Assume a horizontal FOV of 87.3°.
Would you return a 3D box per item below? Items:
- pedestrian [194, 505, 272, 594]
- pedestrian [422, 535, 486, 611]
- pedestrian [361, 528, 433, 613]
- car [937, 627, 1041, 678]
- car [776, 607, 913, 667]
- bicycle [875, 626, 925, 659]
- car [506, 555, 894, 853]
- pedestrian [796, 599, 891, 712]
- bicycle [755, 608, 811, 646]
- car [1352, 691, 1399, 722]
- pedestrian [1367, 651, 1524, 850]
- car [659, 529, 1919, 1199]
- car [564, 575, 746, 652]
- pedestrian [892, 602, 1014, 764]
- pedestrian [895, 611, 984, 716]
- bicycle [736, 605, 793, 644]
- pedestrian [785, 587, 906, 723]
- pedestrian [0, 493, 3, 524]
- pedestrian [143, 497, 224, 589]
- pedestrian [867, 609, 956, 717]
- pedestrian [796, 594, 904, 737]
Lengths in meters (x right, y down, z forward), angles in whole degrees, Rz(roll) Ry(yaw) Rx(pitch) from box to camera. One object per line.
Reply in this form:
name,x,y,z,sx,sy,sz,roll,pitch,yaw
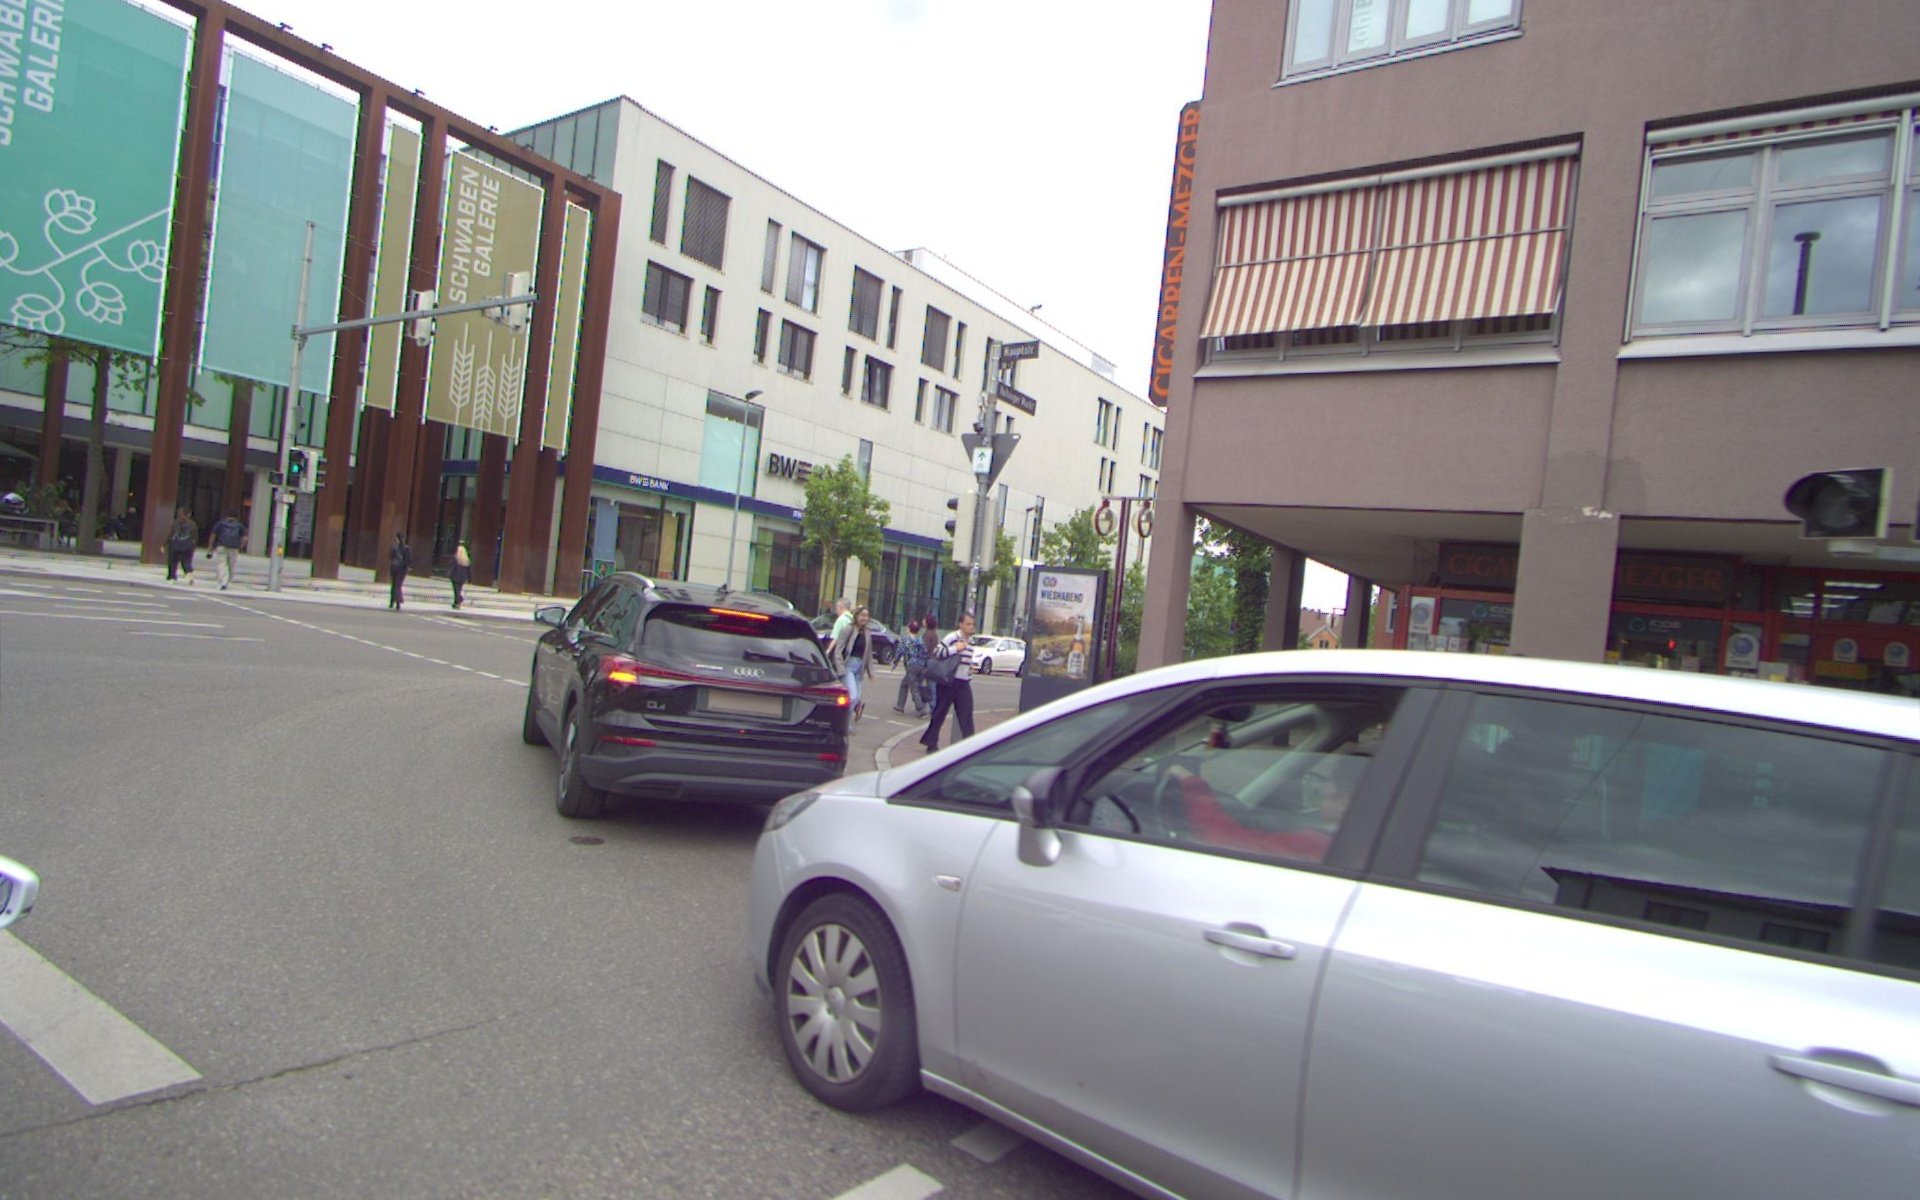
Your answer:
pedestrian,-15.451,-1.068,21.374,1.102,1.702,0.879,7,0,33
pedestrian,-13.056,-0.704,25.946,1.102,1.789,0.879,7,1,33
pedestrian,-13.000,-0.669,23.221,1.102,1.789,0.879,7,1,33
car,1.205,2.069,38.793,1.771,1.505,4.564,7,-2,33
car,-3.613,1.218,32.252,1.771,1.420,4.541,7,-2,33
bicycle,-2.518,1.758,41.922,1.961,1.115,0.719,7,0,36
car,-2.442,0.599,8.179,1.837,1.627,4.828,9,-2,-28
pedestrian,-1.815,0.867,15.740,1.021,1.614,0.823,7,0,29
bicycle,-6.359,0.959,36.133,1.961,1.115,0.719,7,0,36
car,24.868,6.399,60.143,1.698,1.410,3.734,9,-2,36
pedestrian,4.625,1.382,9.573,1.076,1.646,0.809,7,1,34
car,1.189,0.882,2.925,4.319,1.720,1.739,6,-2,41
car,-7.692,0.386,25.710,1.771,1.420,4.178,7,-2,33
pedestrian,-0.076,0.920,11.338,0.938,1.646,0.742,7,1,33
pedestrian,-0.345,1.059,16.860,1.041,1.603,0.831,7,0,31
bicycle,-6.866,0.851,35.285,1.961,1.115,0.719,7,0,36
pedestrian,-1.618,0.780,14.235,1.092,1.736,1.056,7,0,35
pedestrian,-29.664,-2.695,30.645,0.783,1.223,0.515,8,1,34
pedestrian,-15.925,-1.165,20.625,1.102,1.702,0.879,7,0,33
pedestrian,-0.773,1.012,16.136,0.953,1.577,0.831,7,0,31
pedestrian,-1.390,0.822,12.776,0.938,1.646,0.742,7,1,33
